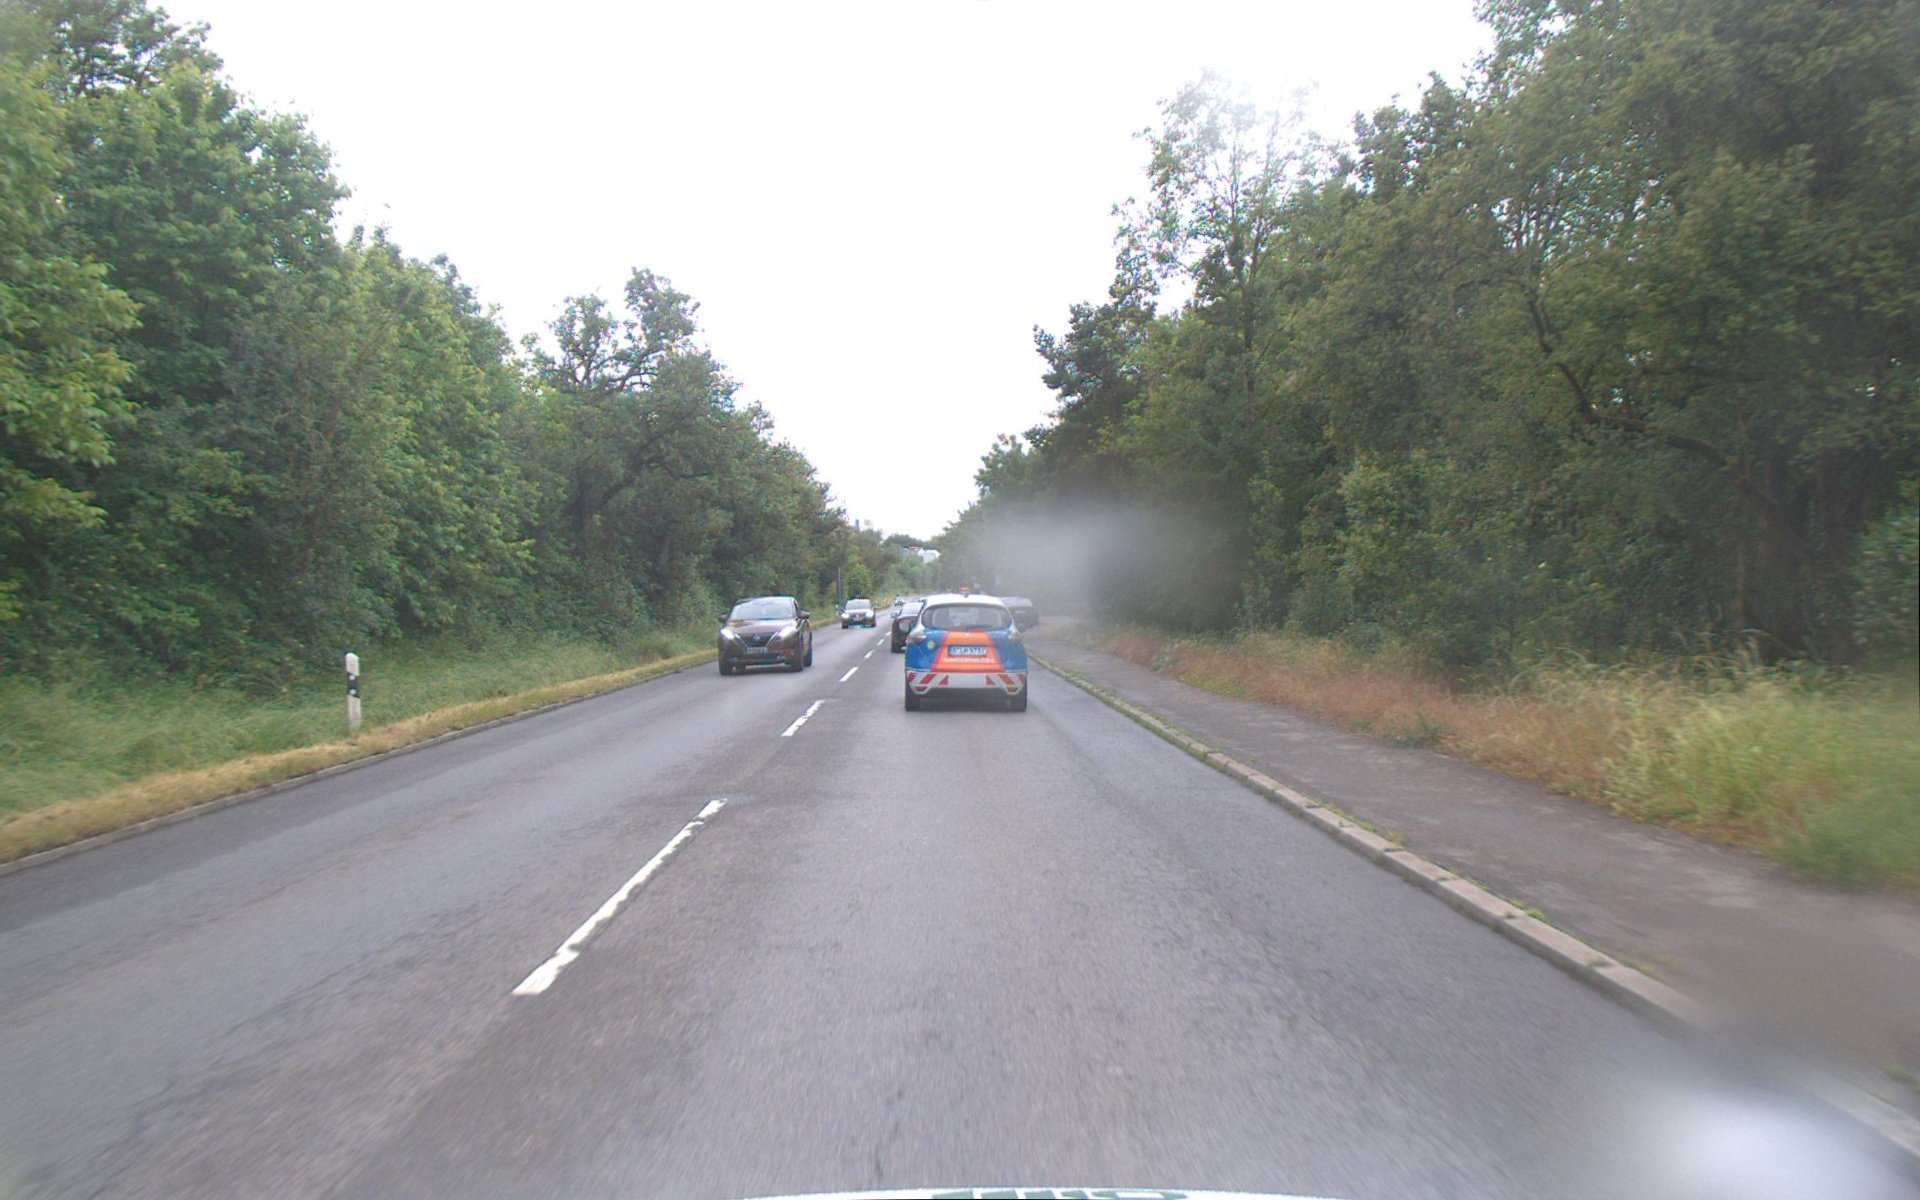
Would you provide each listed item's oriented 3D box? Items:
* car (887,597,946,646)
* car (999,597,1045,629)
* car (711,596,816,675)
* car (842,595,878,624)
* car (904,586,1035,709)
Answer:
[{"bbox_3d":[-1.208,0.589,47.161,1.566,1.309,3.475,-2,0,-1],"label":"car"},{"bbox_3d":[2.903,0.583,78.252,1.953,1.400,3.999,-2,0,-1],"label":"car"},{"bbox_3d":[-4.304,0.736,36.871,1.867,1.584,4.514,-2,0,-1],"label":"car"},{"bbox_3d":[-5.272,0.471,87.445,1.676,1.423,4.148,-3,0,-2],"label":"car"},{"bbox_3d":[0.088,0.610,23.610,1.716,1.582,3.792,0,1,-1],"label":"car"}]
